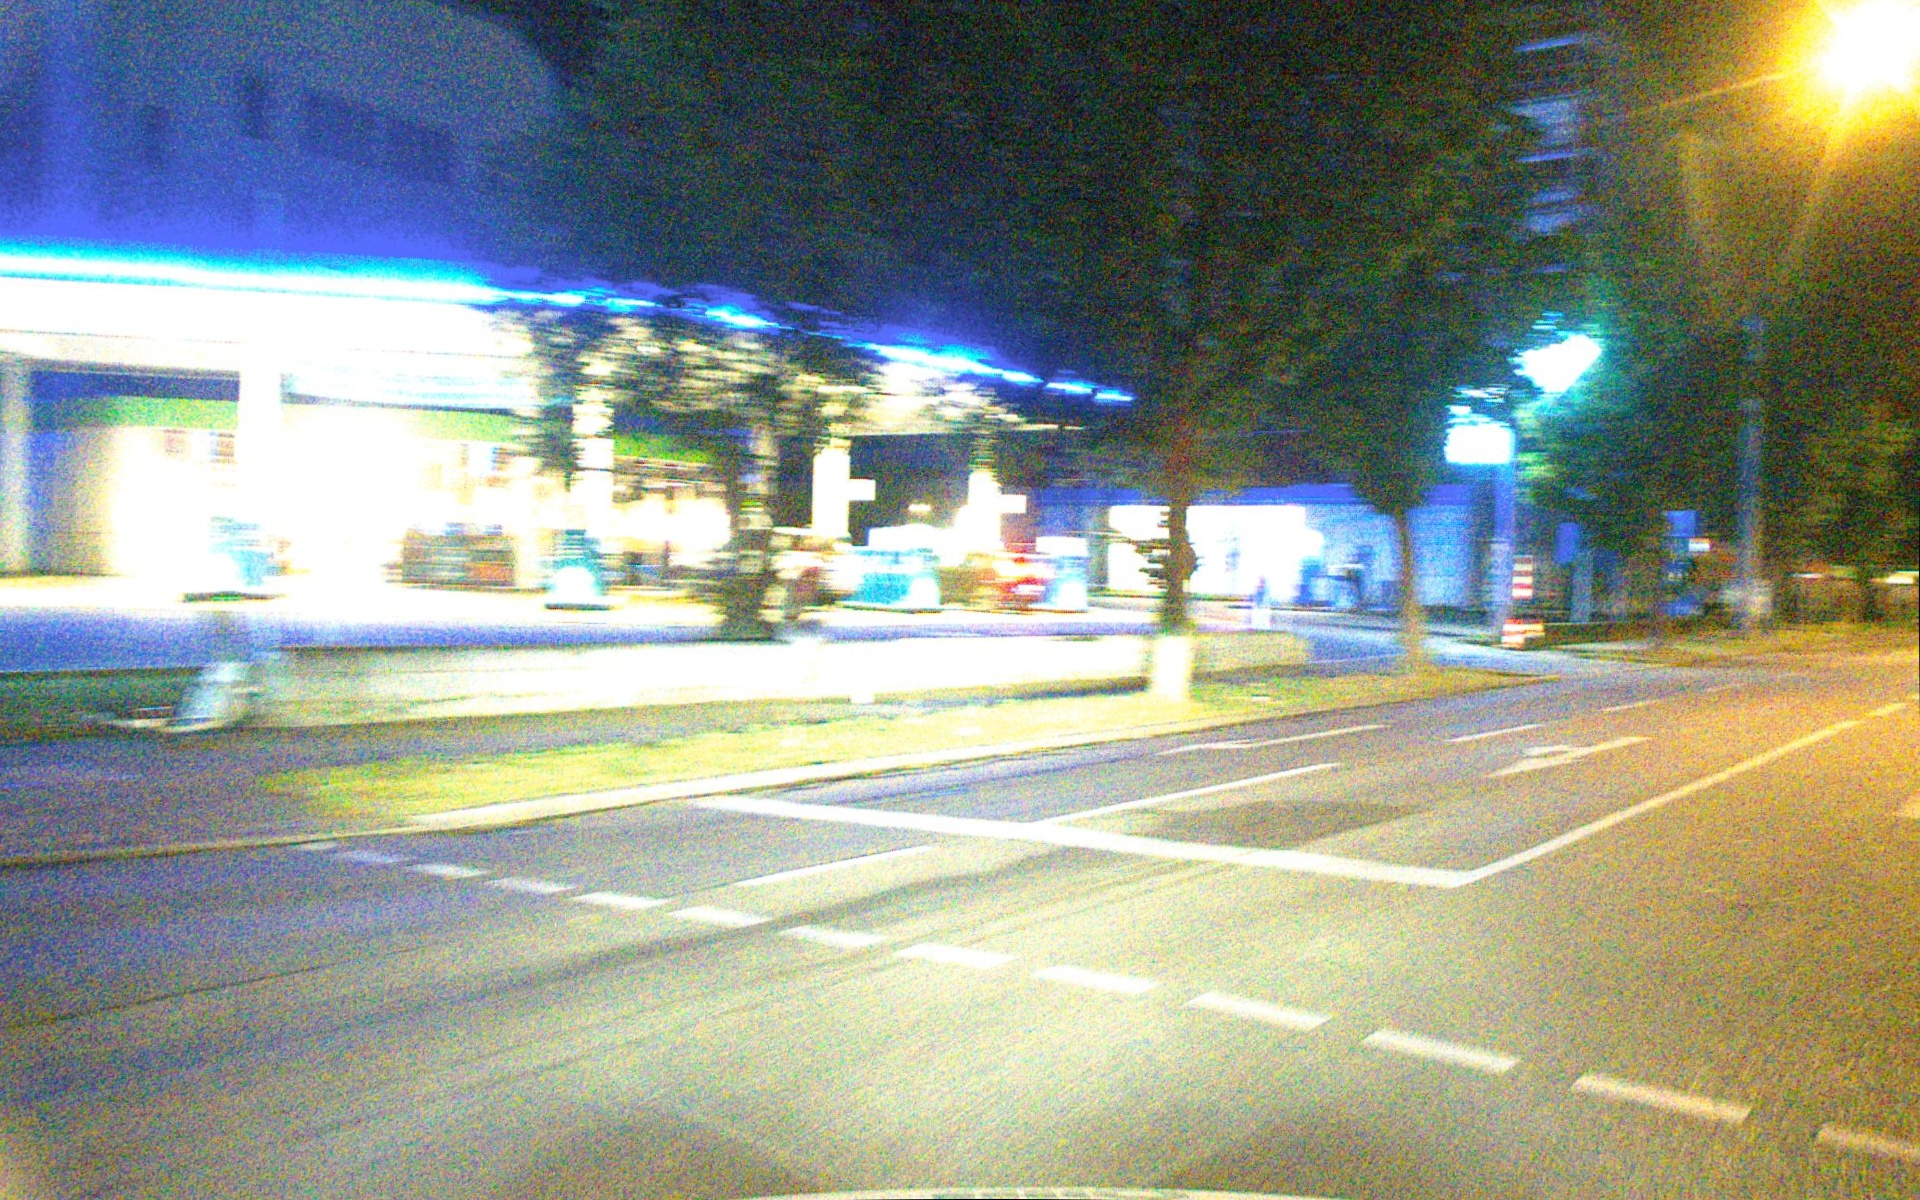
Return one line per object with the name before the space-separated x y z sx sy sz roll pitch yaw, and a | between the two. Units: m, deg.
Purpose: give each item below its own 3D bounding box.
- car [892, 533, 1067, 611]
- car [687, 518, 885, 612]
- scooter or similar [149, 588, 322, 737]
car | 0.471 -0.721 41.626 3.920 1.692 1.993 5 3 35
car | -3.917 -0.799 36.877 4.174 1.799 1.990 5 3 40
scooter or similar | -5.989 0.486 13.774 0.700 1.111 1.681 1 2 -1
